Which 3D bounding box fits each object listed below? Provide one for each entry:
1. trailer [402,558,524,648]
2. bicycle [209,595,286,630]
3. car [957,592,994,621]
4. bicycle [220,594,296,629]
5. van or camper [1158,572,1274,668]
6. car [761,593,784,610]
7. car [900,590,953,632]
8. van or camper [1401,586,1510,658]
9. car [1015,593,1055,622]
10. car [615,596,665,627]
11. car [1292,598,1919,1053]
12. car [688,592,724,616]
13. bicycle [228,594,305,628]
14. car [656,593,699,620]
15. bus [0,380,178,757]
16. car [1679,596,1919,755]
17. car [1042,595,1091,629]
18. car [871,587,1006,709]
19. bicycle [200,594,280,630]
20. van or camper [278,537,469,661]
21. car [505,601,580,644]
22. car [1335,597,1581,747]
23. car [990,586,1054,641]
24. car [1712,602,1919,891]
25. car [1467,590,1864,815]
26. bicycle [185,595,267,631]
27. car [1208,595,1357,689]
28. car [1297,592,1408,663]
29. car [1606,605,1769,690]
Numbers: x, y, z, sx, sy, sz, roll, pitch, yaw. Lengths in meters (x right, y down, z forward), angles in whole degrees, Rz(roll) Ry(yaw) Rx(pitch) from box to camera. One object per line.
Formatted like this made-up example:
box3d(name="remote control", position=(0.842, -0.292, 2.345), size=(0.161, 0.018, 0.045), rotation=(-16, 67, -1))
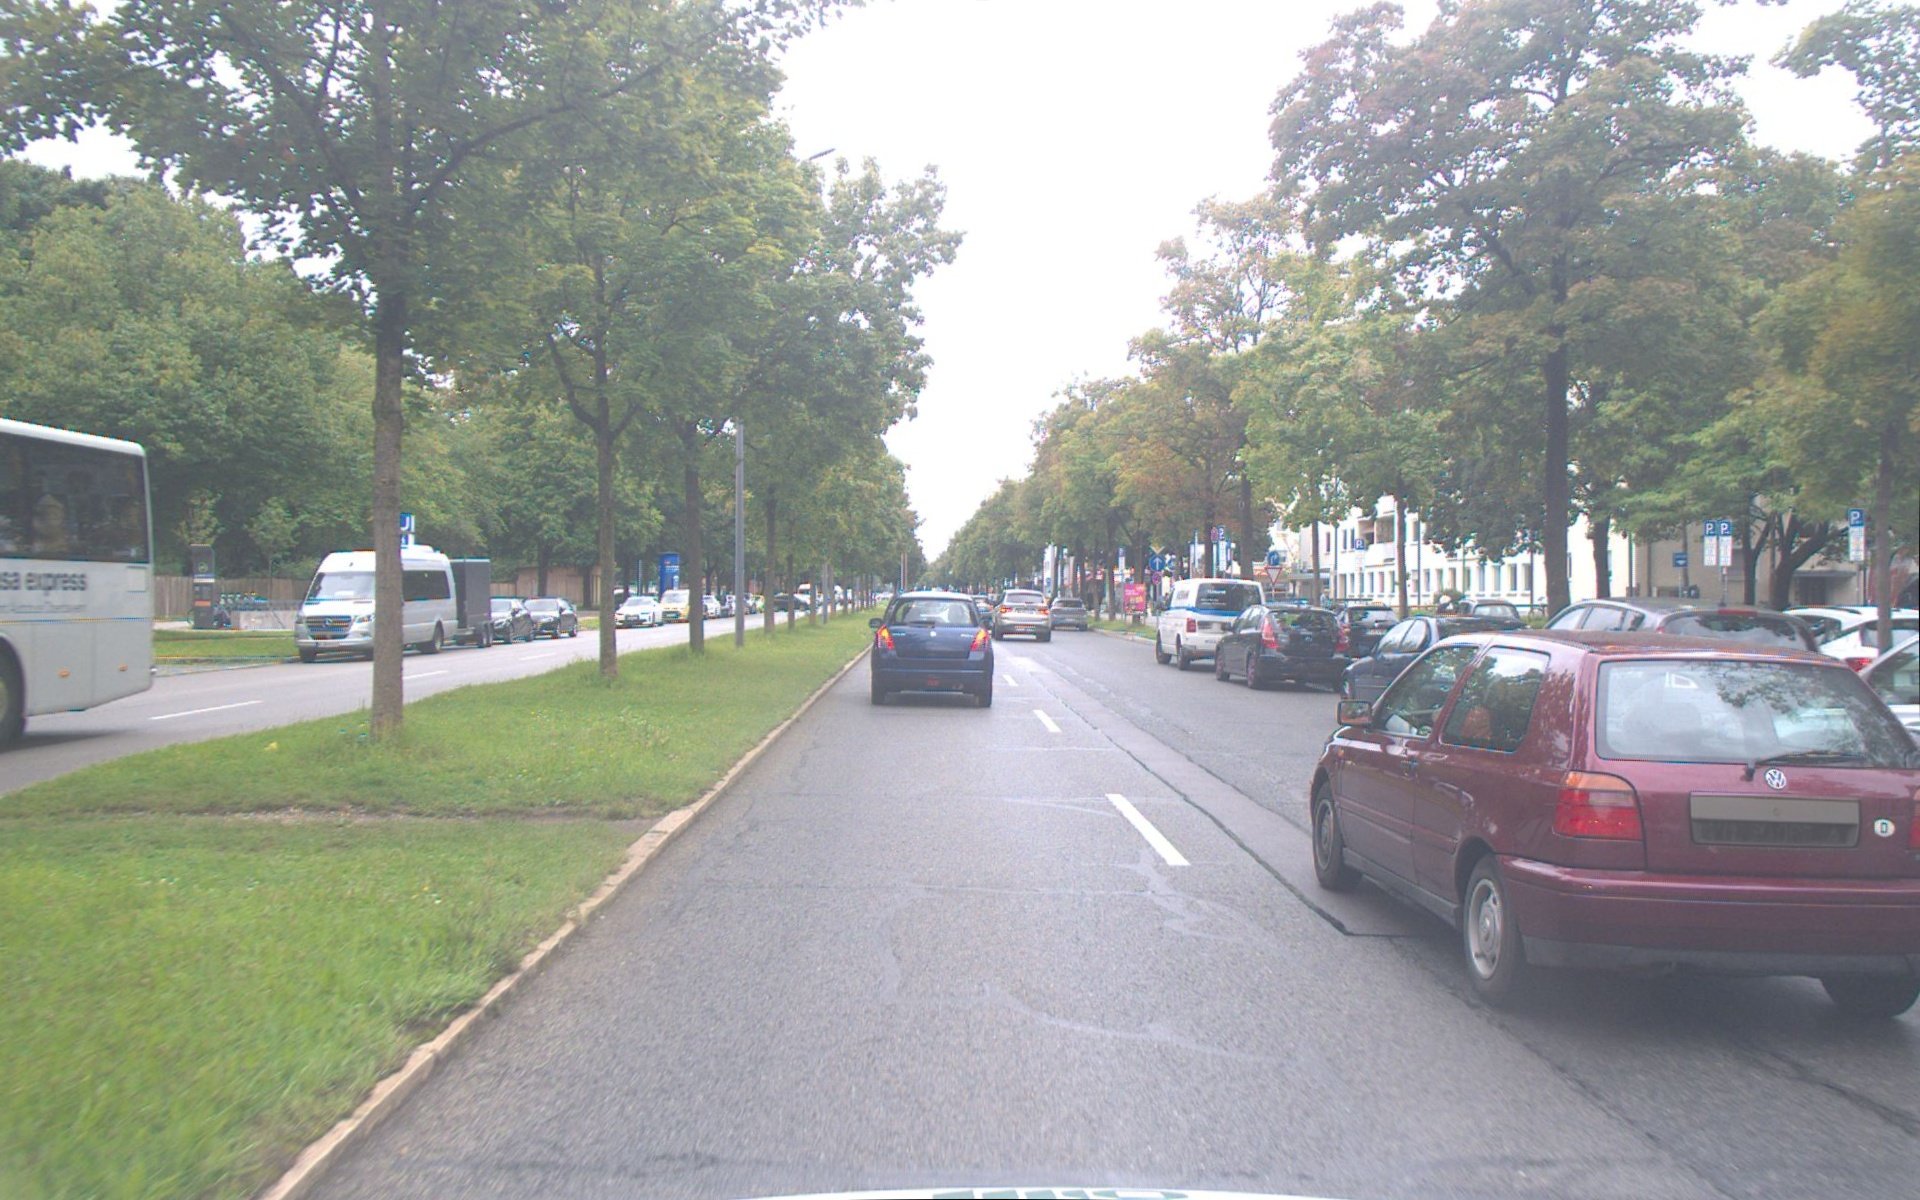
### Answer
box3d(name="trailer", position=(-14.891, 0.070, 49.922), size=(2.063, 2.585, 5.575), rotation=(0, 0, -1))
box3d(name="bicycle", position=(-25.234, 0.444, 58.622), size=(2.448, 1.164, 0.600), rotation=(2, 0, 1))
box3d(name="car", position=(0.807, 0.334, 89.372), size=(1.813, 1.472, 4.095), rotation=(0, 0, -3))
box3d(name="bicycle", position=(-25.207, 0.413, 59.405), size=(2.448, 1.164, 0.654), rotation=(2, 0, 1))
box3d(name="van or camper", position=(5.606, 0.406, 36.733), size=(1.905, 2.009, 4.306), rotation=(0, 0, 0))
box3d(name="car", position=(-17.305, 0.115, 152.526), size=(1.813, 1.472, 4.095), rotation=(0, 0, -3))
box3d(name="car", position=(-1.236, 0.384, 59.823), size=(1.813, 1.472, 4.095), rotation=(0, 0, -3))
box3d(name="van or camper", position=(14.494, 0.608, 48.597), size=(1.905, 2.009, 4.306), rotation=(0, 0, 0))
box3d(name="car", position=(4.000, 0.387, 88.727), size=(1.813, 1.472, 4.095), rotation=(0, 0, -3))
box3d(name="car", position=(-15.619, 0.552, 80.927), size=(1.813, 1.472, 4.095), rotation=(0, 0, -3))
box3d(name="car", position=(2.734, 0.745, 7.446), size=(1.589, 1.479, 3.948), rotation=(0, 0, -2))
box3d(name="car", position=(-16.141, 0.258, 105.128), size=(1.813, 1.472, 4.095), rotation=(0, 0, -3))
box3d(name="bicycle", position=(-25.204, 0.409, 60.137), size=(2.448, 1.164, 0.707), rotation=(2, 0, 1))
box3d(name="car", position=(-15.625, 0.350, 91.676), size=(1.813, 1.472, 4.095), rotation=(0, 0, -3))
box3d(name="bus", position=(-10.085, -0.246, 12.449), size=(2.682, 3.436, 12.012), rotation=(-1, 0, 0))
box3d(name="car", position=(9.972, 0.774, 18.962), size=(1.650, 1.613, 4.027), rotation=(0, 0, -1))
box3d(name="car", position=(4.795, 0.531, 74.896), size=(1.813, 1.472, 4.095), rotation=(0, 0, -3))
box3d(name="car", position=(-0.366, 0.618, 23.473), size=(1.753, 1.583, 3.998), rotation=(0, 0, -3))
box3d(name="bicycle", position=(-25.216, 0.423, 57.926), size=(2.448, 1.164, 0.707), rotation=(2, 0, 1))
box3d(name="van or camper", position=(-14.743, -0.049, 42.197), size=(2.262, 2.883, 7.492), rotation=(0, 0, -1))
box3d(name="car", position=(-15.033, 0.794, 59.711), size=(1.813, 1.472, 4.095), rotation=(0, 0, -3))
box3d(name="car", position=(5.818, 0.766, 19.842), size=(1.650, 1.581, 4.306), rotation=(0, 0, 0))
box3d(name="car", position=(2.046, 0.420, 55.493), size=(1.813, 1.773, 4.095), rotation=(0, 0, -3))
box3d(name="car", position=(6.054, 0.825, 9.222), size=(1.650, 1.552, 4.455), rotation=(2, 0, 0))
box3d(name="car", position=(6.009, 0.766, 14.695), size=(1.650, 1.654, 4.306), rotation=(2, 0, 0))
box3d(name="bicycle", position=(-25.258, 0.428, 56.926), size=(2.448, 1.164, 0.723), rotation=(2, 0, 1))
box3d(name="car", position=(5.786, 0.712, 30.178), size=(1.651, 1.581, 4.303), rotation=(0, 0, -4))
box3d(name="car", position=(9.391, 0.625, 39.855), size=(1.650, 1.613, 4.027), rotation=(0, 0, -1))
box3d(name="car", position=(14.944, 0.936, 34.195), size=(1.649, 1.613, 4.028), rotation=(0, 0, 1))
